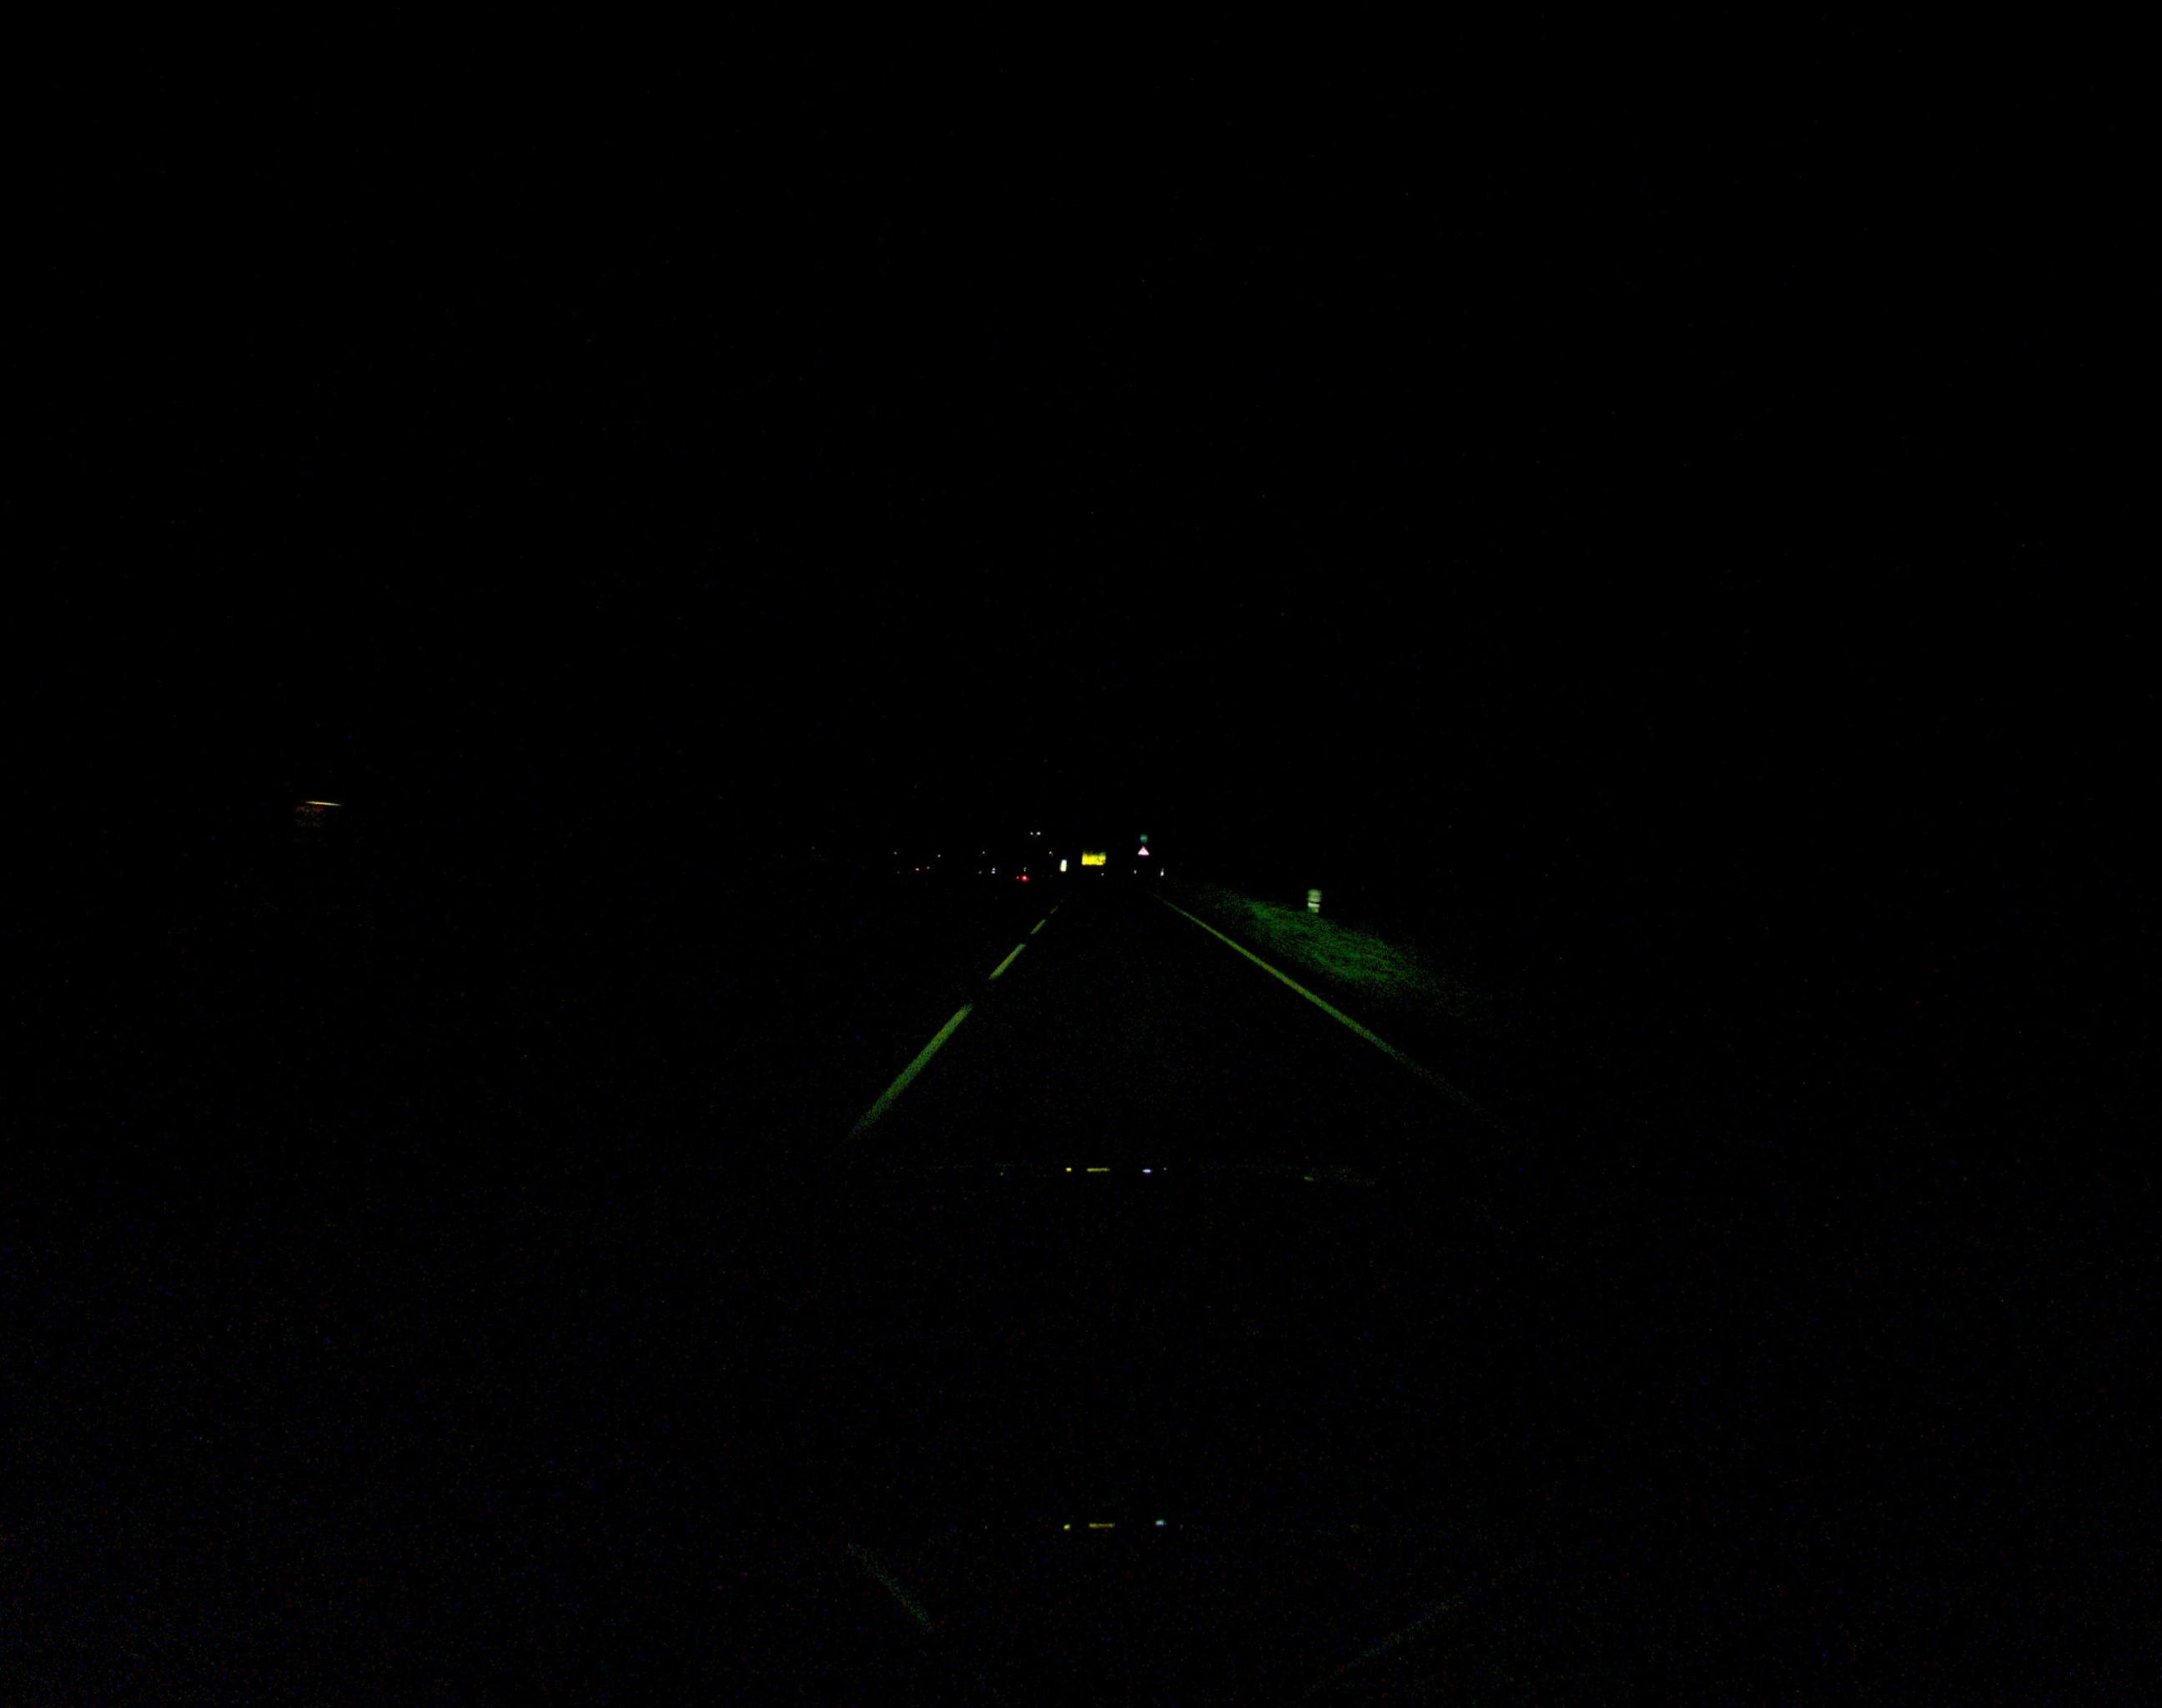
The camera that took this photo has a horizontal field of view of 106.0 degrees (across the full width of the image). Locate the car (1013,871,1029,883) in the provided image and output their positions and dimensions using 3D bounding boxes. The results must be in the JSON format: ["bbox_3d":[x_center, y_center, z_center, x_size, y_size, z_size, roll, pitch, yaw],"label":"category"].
[{"bbox_3d":[-10.640,4.182,144.898,1.997,2.014,3.979,4,-3,-15],"label":"car"}]
